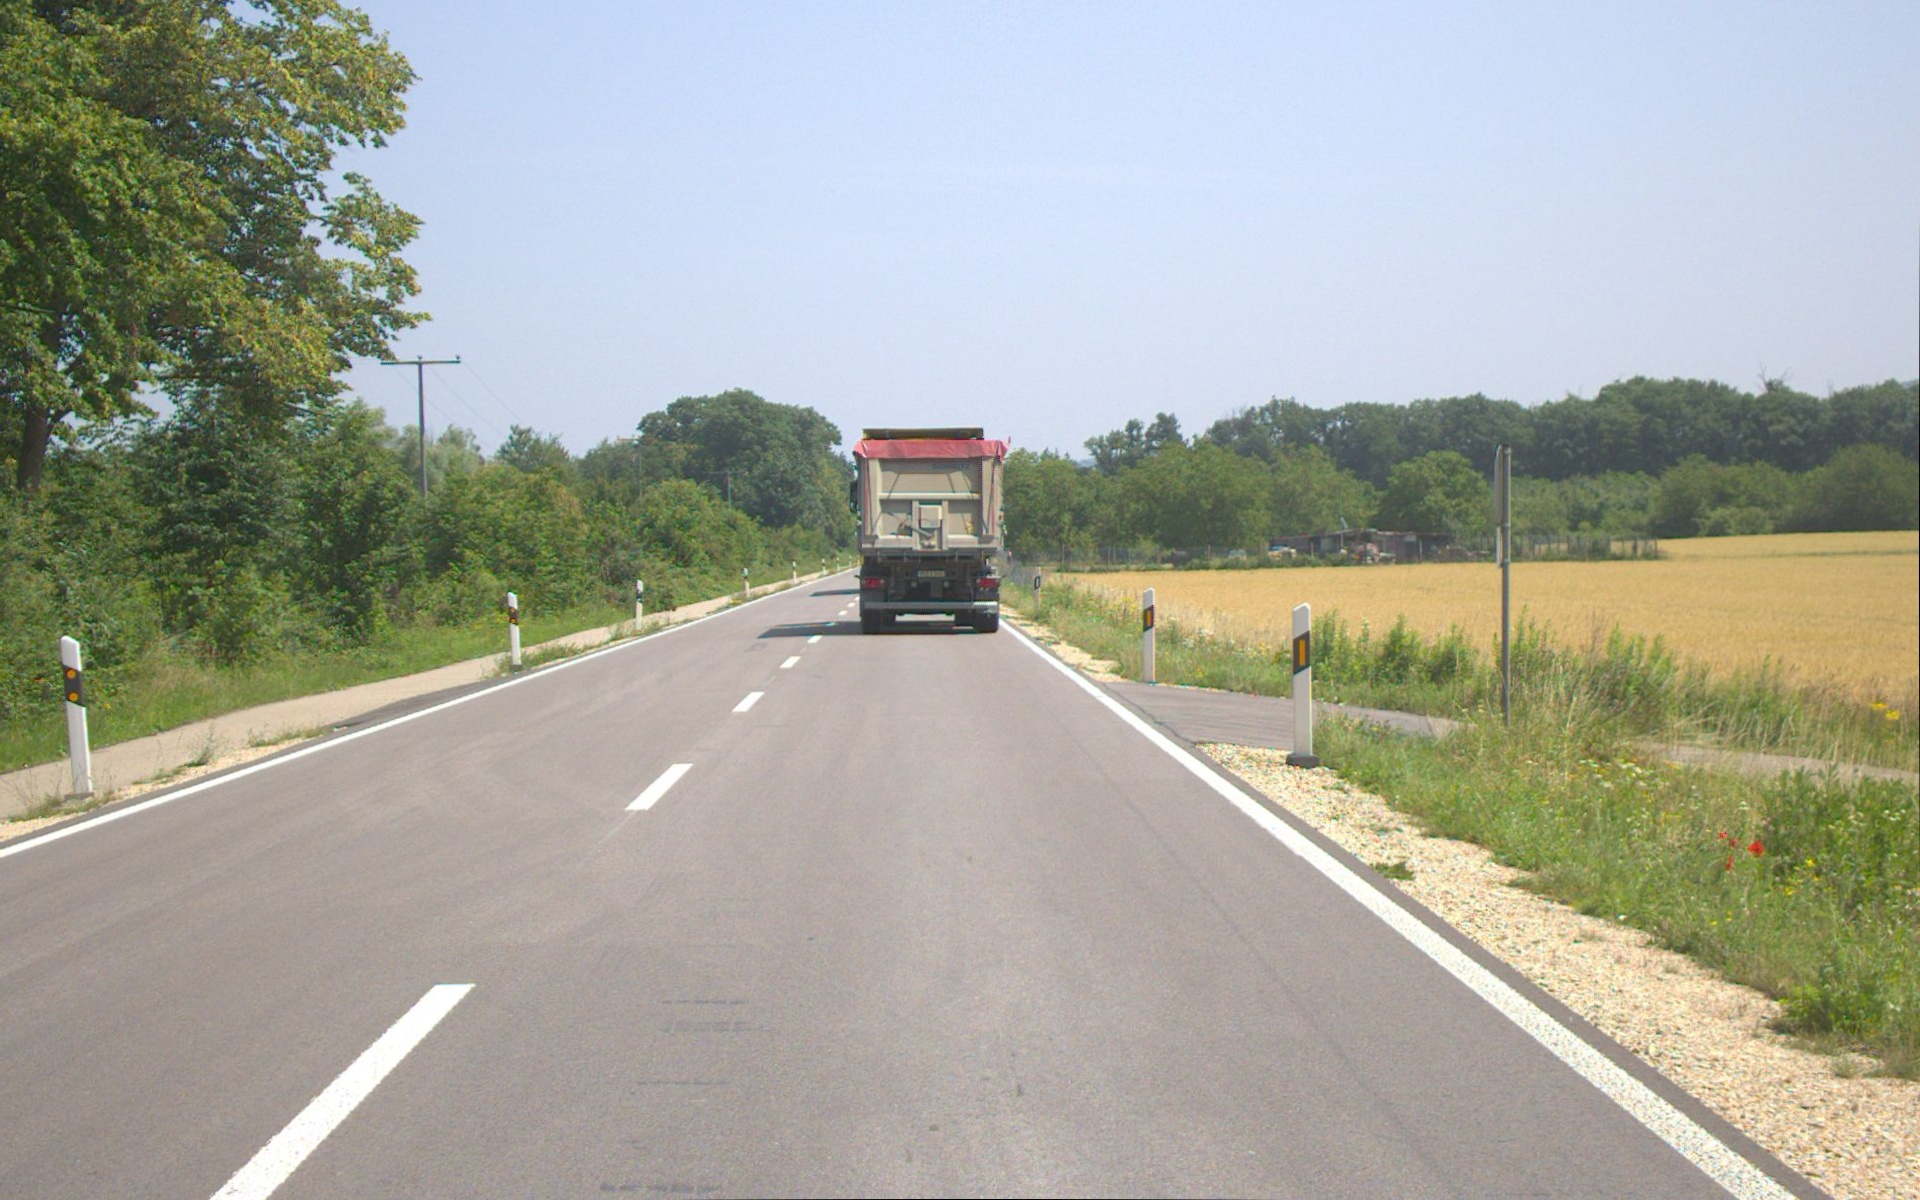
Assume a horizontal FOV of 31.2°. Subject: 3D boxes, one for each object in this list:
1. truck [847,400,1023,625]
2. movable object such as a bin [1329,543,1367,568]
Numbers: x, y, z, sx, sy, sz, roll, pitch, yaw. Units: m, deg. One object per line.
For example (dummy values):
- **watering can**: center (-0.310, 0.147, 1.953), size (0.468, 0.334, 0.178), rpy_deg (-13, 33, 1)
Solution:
- **truck**: center (-0.524, -1.571, 65.451), size (3.009, 3.861, 12.210), rpy_deg (0, 1, -1)
- **movable object such as a bin**: center (23.881, -2.754, 211.571), size (1.570, 1.491, 3.659), rpy_deg (-1, 1, -5)
